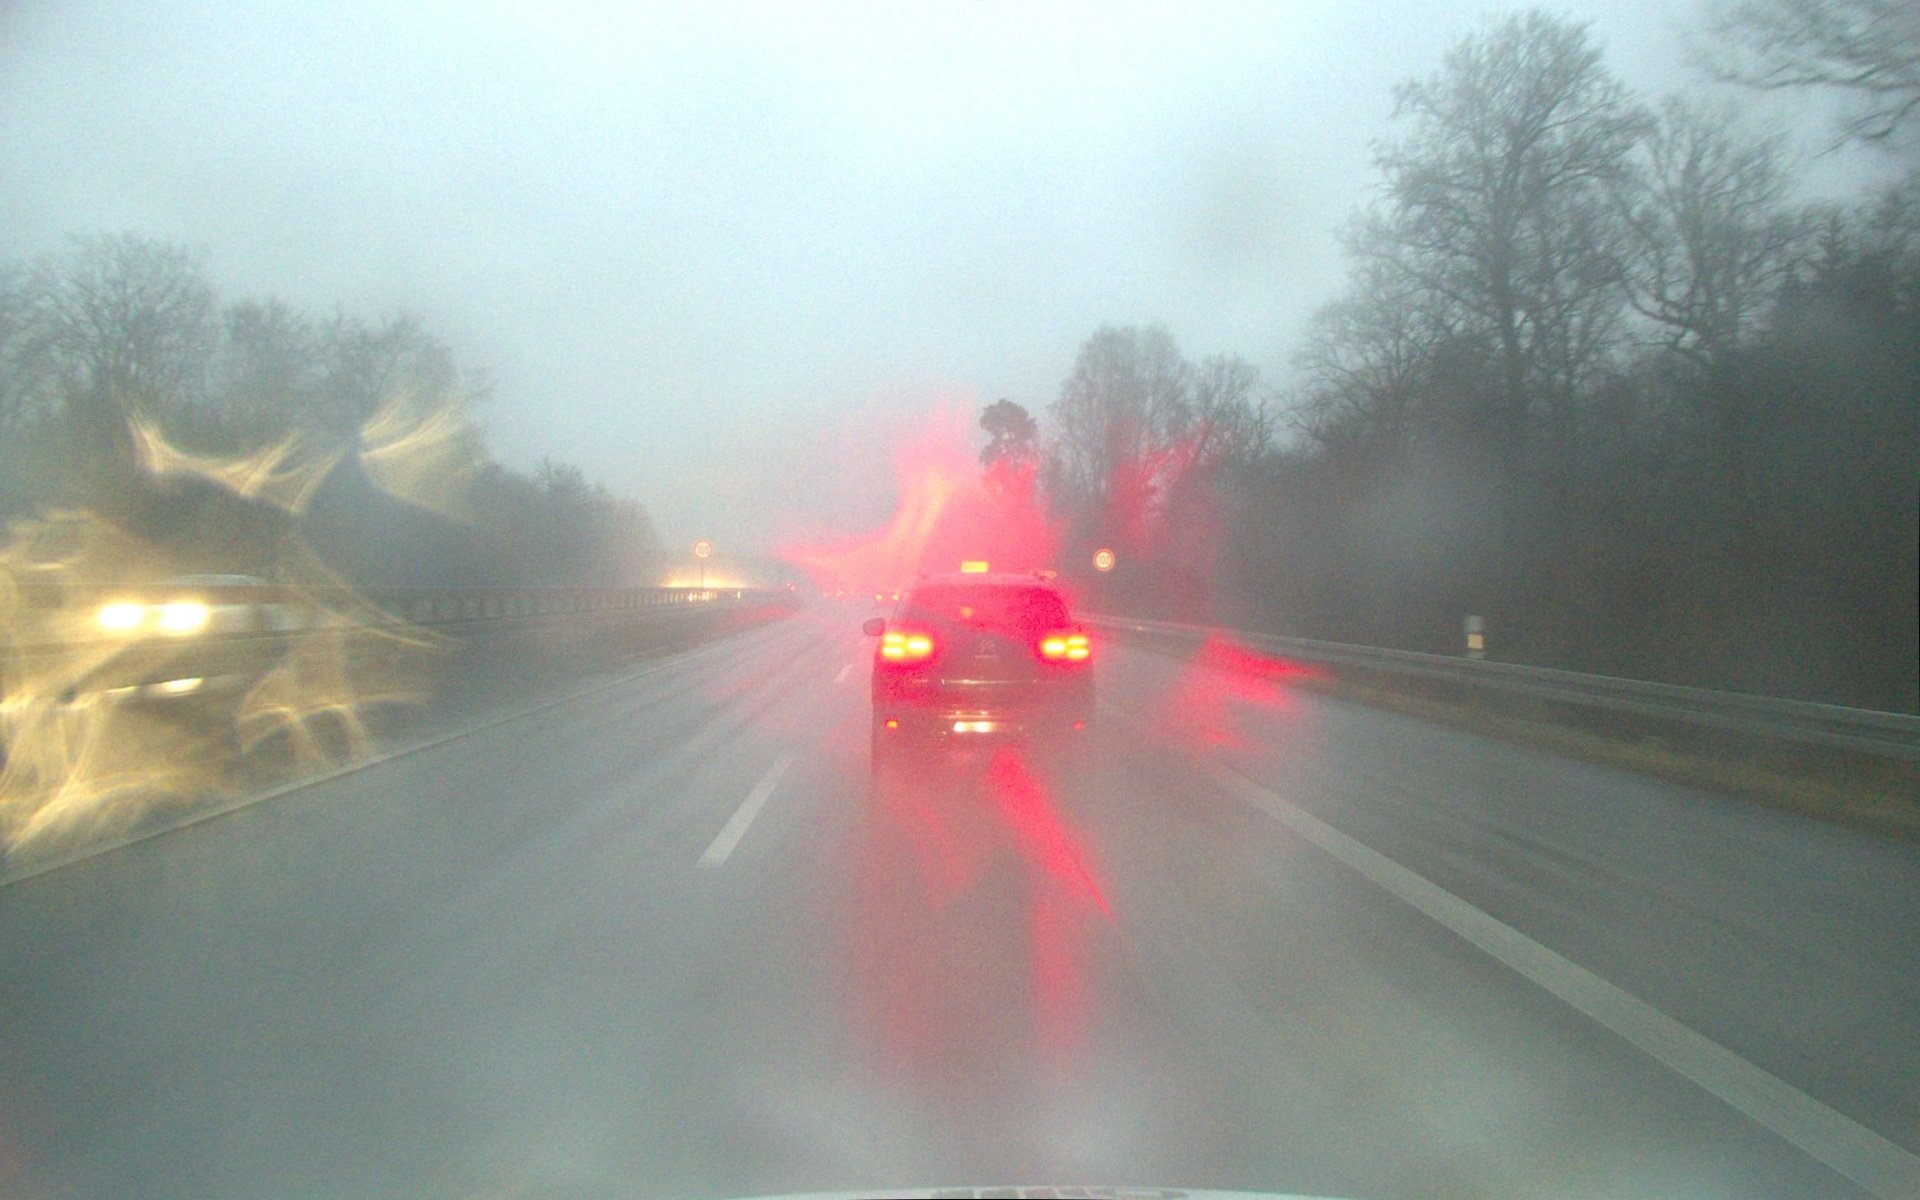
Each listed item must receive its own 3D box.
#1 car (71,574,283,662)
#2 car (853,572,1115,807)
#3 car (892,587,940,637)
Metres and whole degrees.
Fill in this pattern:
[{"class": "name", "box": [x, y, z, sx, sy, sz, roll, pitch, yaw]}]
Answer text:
[{"class": "car", "box": [-15.536, 0.318, 33.156, 1.953, 1.617, 4.958, 0, 0, -1]}, {"class": "car", "box": [0.101, 0.673, 14.343, 1.952, 1.745, 3.828, 1, 0, -3]}, {"class": "car", "box": [-1.915, 0.508, 71.338, 1.954, 2.049, 3.998, 1, 0, -3]}]
